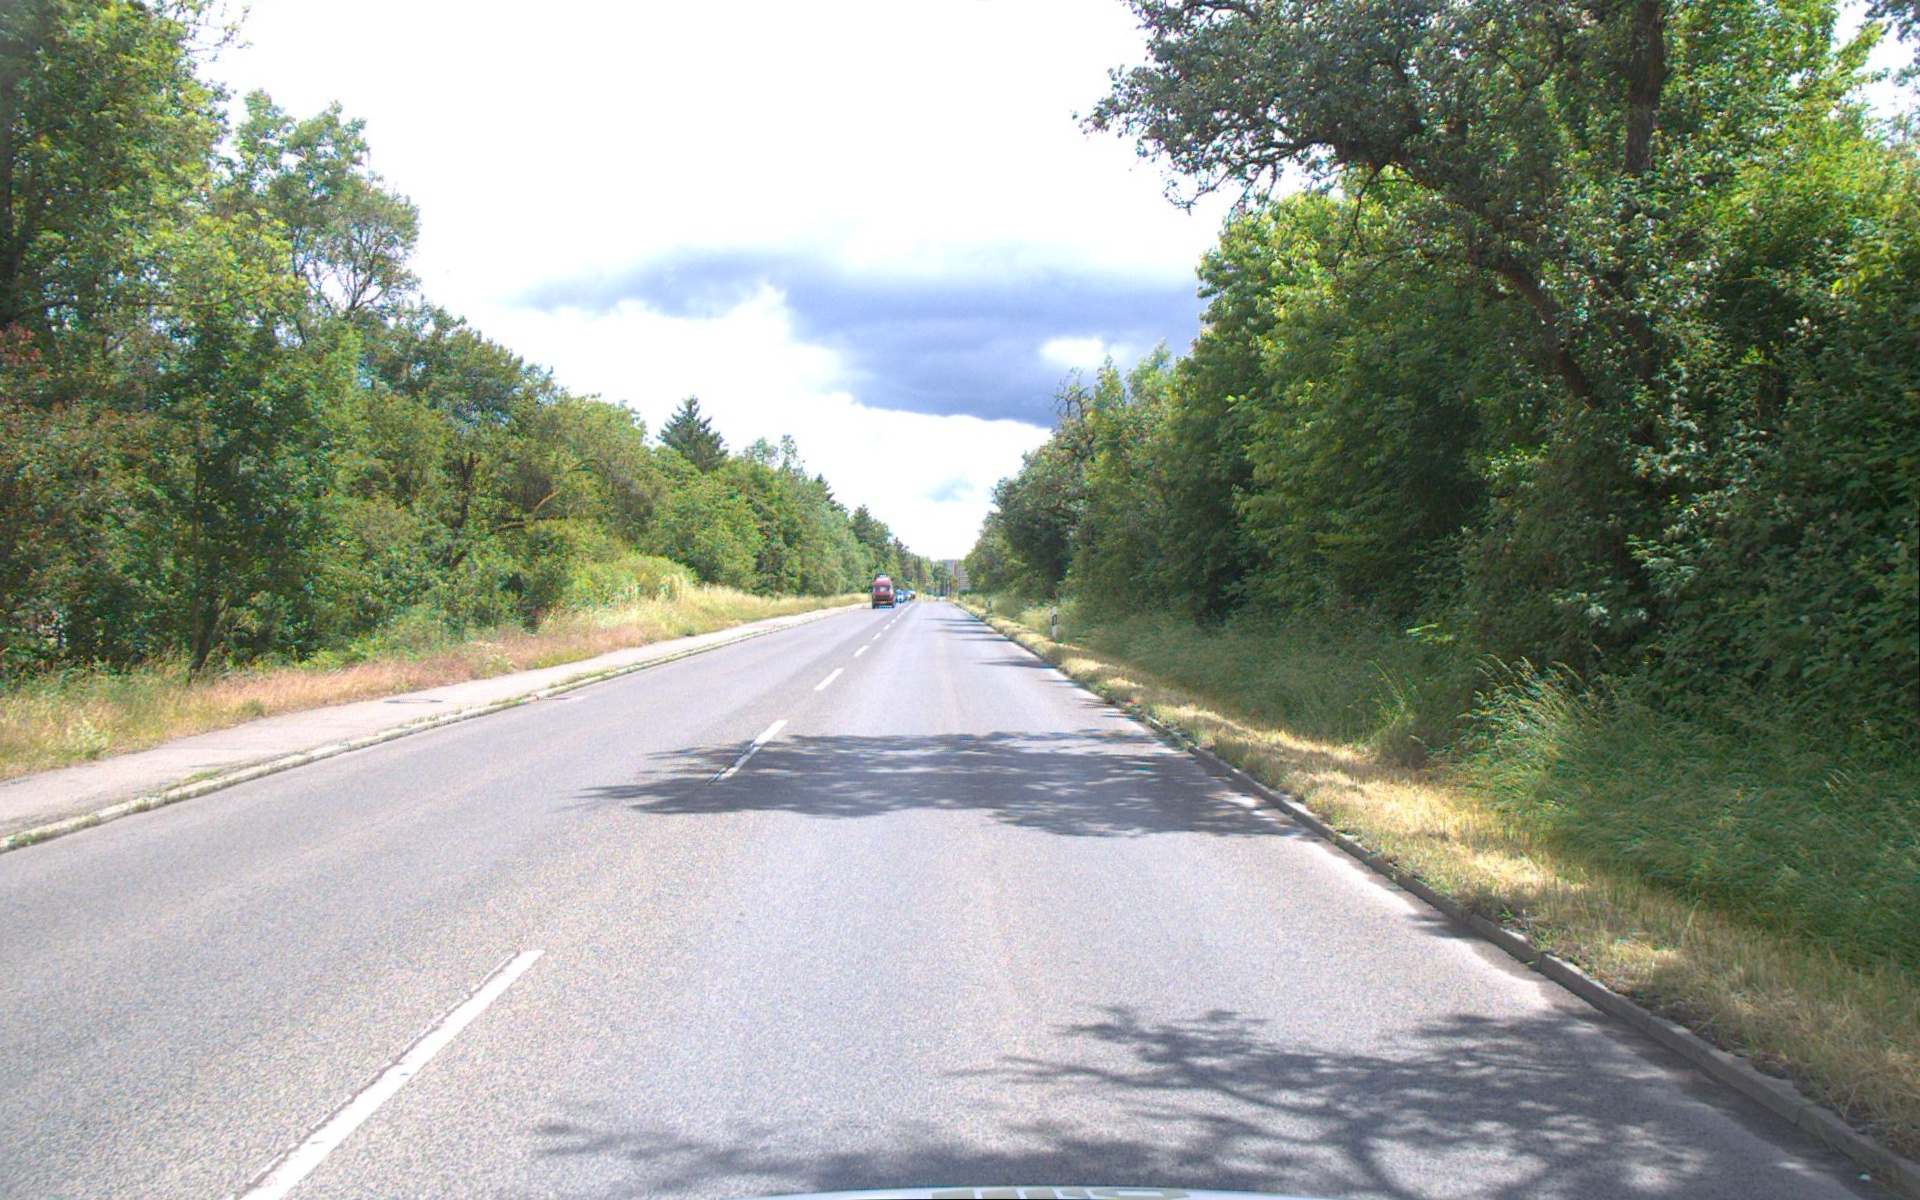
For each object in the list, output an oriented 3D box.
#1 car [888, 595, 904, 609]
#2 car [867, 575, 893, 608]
[{"bbox_3d":[-7.101,0.222,184.165,1.748,1.472,4.450,-2,0,-2],"label":"car"},{"bbox_3d":[-6.497,-0.692,134.582,1.929,2.594,4.723,-3,0,-1],"label":"car"}]
